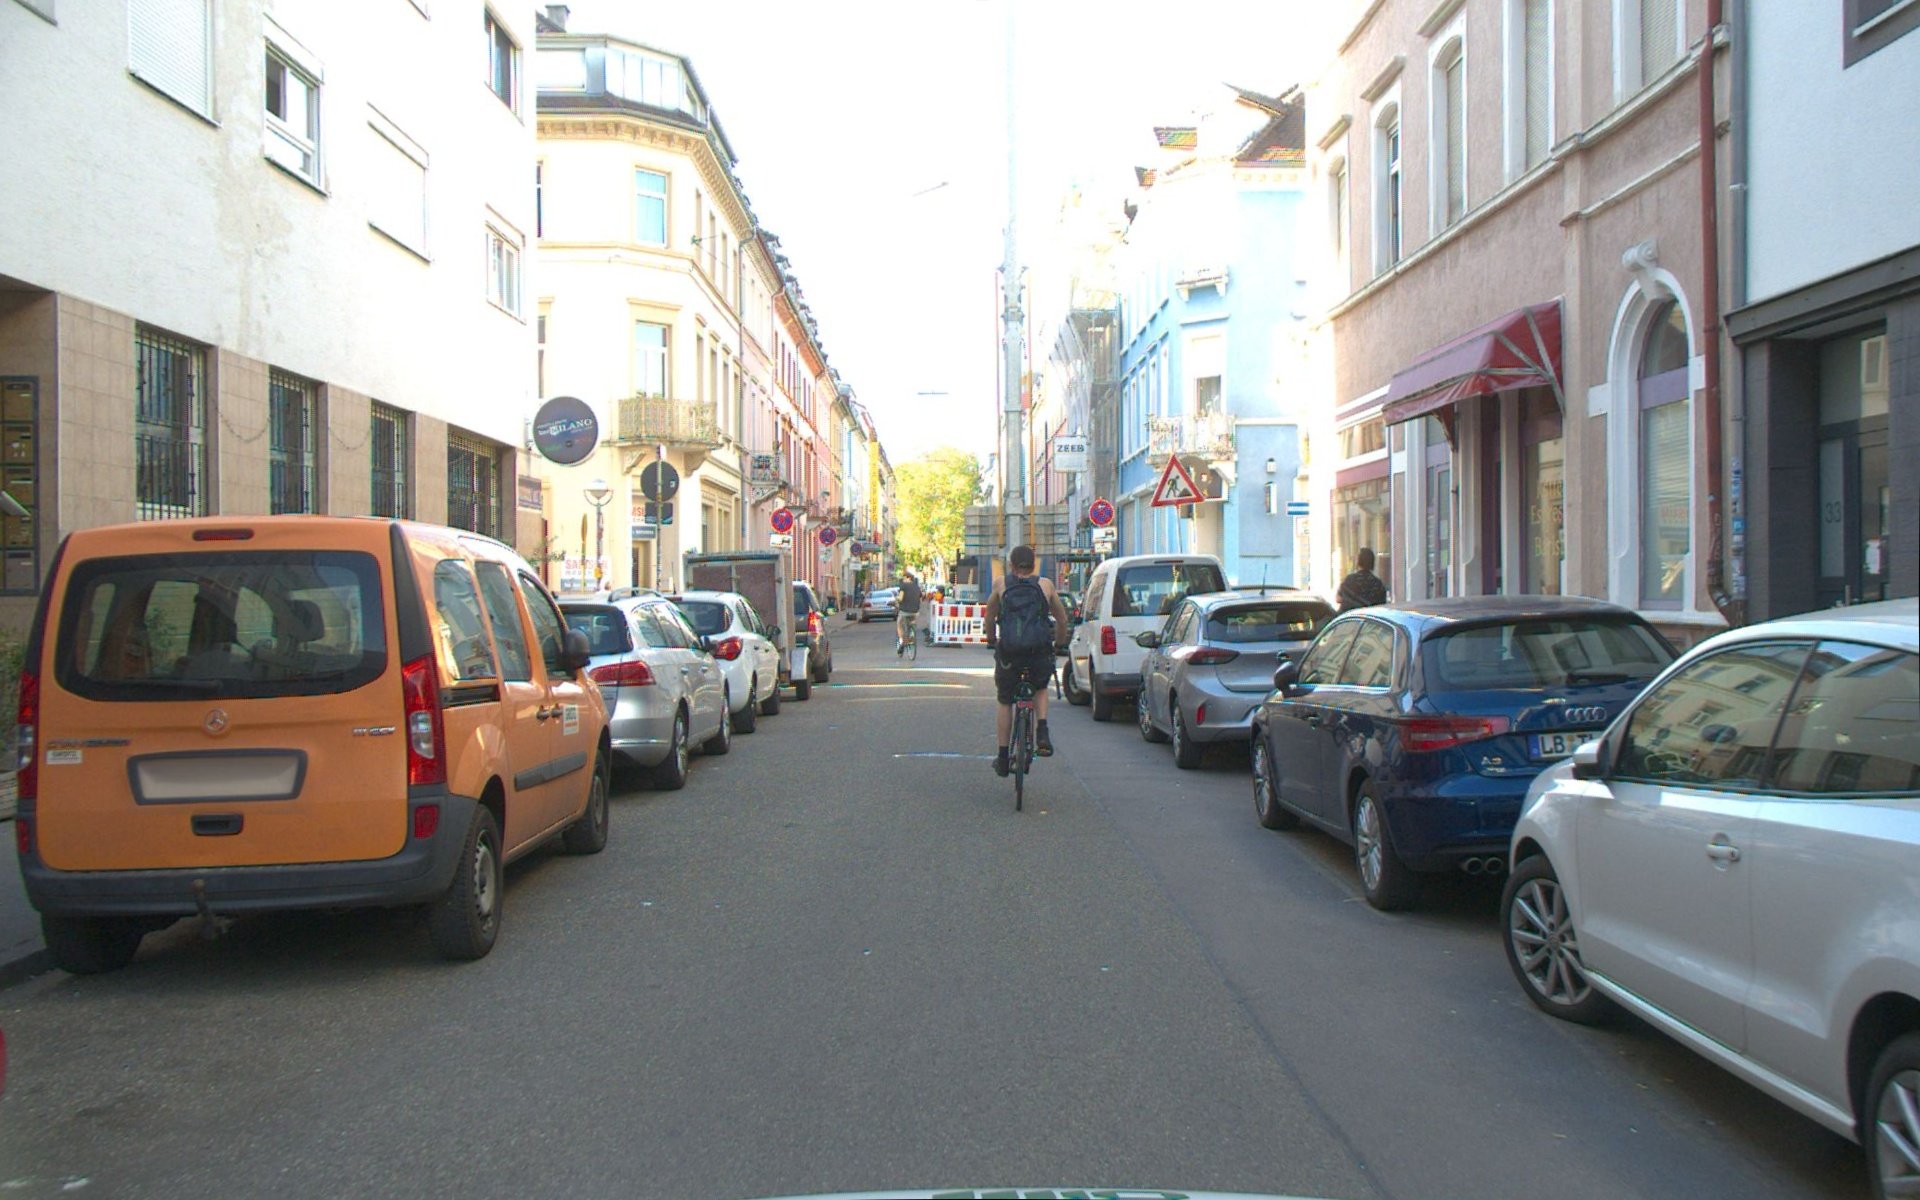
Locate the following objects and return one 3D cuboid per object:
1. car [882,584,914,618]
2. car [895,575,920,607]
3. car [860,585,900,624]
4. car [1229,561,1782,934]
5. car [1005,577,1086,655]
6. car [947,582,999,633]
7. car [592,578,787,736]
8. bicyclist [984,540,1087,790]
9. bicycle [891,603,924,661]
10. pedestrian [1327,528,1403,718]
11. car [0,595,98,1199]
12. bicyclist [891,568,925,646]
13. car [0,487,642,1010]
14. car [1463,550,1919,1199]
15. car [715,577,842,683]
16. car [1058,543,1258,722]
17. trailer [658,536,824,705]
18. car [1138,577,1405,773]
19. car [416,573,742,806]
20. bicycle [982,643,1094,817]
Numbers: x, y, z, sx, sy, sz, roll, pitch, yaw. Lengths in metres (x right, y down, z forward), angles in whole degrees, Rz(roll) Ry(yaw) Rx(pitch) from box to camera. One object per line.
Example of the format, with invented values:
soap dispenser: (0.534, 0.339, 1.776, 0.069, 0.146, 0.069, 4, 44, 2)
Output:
car: (-3.479, 0.071, 93.750, 1.714, 1.853, 3.795, -1, 0, -1)
car: (-3.865, -0.649, 122.854, 1.714, 2.358, 3.795, -1, 0, -1)
car: (-3.681, 0.212, 76.660, 1.714, 1.713, 3.795, -1, 0, -1)
car: (2.706, 0.645, 9.201, 1.613, 1.500, 3.970, -4, 0, -1)
car: (1.889, 0.338, 37.386, 1.578, 1.662, 3.609, 1, 0, -1)
car: (0.400, 0.231, 53.631, 1.578, 1.587, 3.609, 1, 0, -1)
car: (-2.932, 0.582, 18.613, 1.620, 1.564, 3.633, -1, 0, -1)
bicyclist: (0.526, 0.447, 11.868, 0.654, 1.706, 1.097, 1, 0, -1)
bicycle: (-1.076, 0.645, 34.370, 0.635, 1.149, 2.135, 1, 0, -1)
pedestrian: (4.467, 0.253, 18.286, 0.631, 2.049, 0.763, 1, 0, -1)
car: (-2.803, 0.773, 2.108, 1.546, 1.509, 3.564, -2, 0, -1)
bicyclist: (-1.086, 0.145, 34.500, 0.658, 1.595, 0.715, 1, 0, -6)
car: (-2.798, 0.546, 8.127, 1.717, 1.848, 4.077, -2, 0, -2)
car: (2.846, 0.624, 4.659, 1.633, 1.531, 3.816, -3, 0, 0)
car: (-2.946, 0.468, 27.513, 1.714, 1.600, 3.795, -1, 0, -1)
car: (2.286, 0.355, 20.080, 1.715, 1.911, 3.970, -1, 0, -3)
trailer: (-2.975, 0.270, 23.199, 1.844, 2.129, 3.736, -1, 0, -1)
car: (2.679, 0.596, 15.023, 1.714, 1.513, 3.800, -1, 0, 1)
car: (-2.913, 0.620, 13.592, 1.714, 1.564, 4.318, -1, 0, -1)
bicycle: (0.528, 0.879, 11.862, 0.663, 1.093, 1.941, 1, 0, -1)
